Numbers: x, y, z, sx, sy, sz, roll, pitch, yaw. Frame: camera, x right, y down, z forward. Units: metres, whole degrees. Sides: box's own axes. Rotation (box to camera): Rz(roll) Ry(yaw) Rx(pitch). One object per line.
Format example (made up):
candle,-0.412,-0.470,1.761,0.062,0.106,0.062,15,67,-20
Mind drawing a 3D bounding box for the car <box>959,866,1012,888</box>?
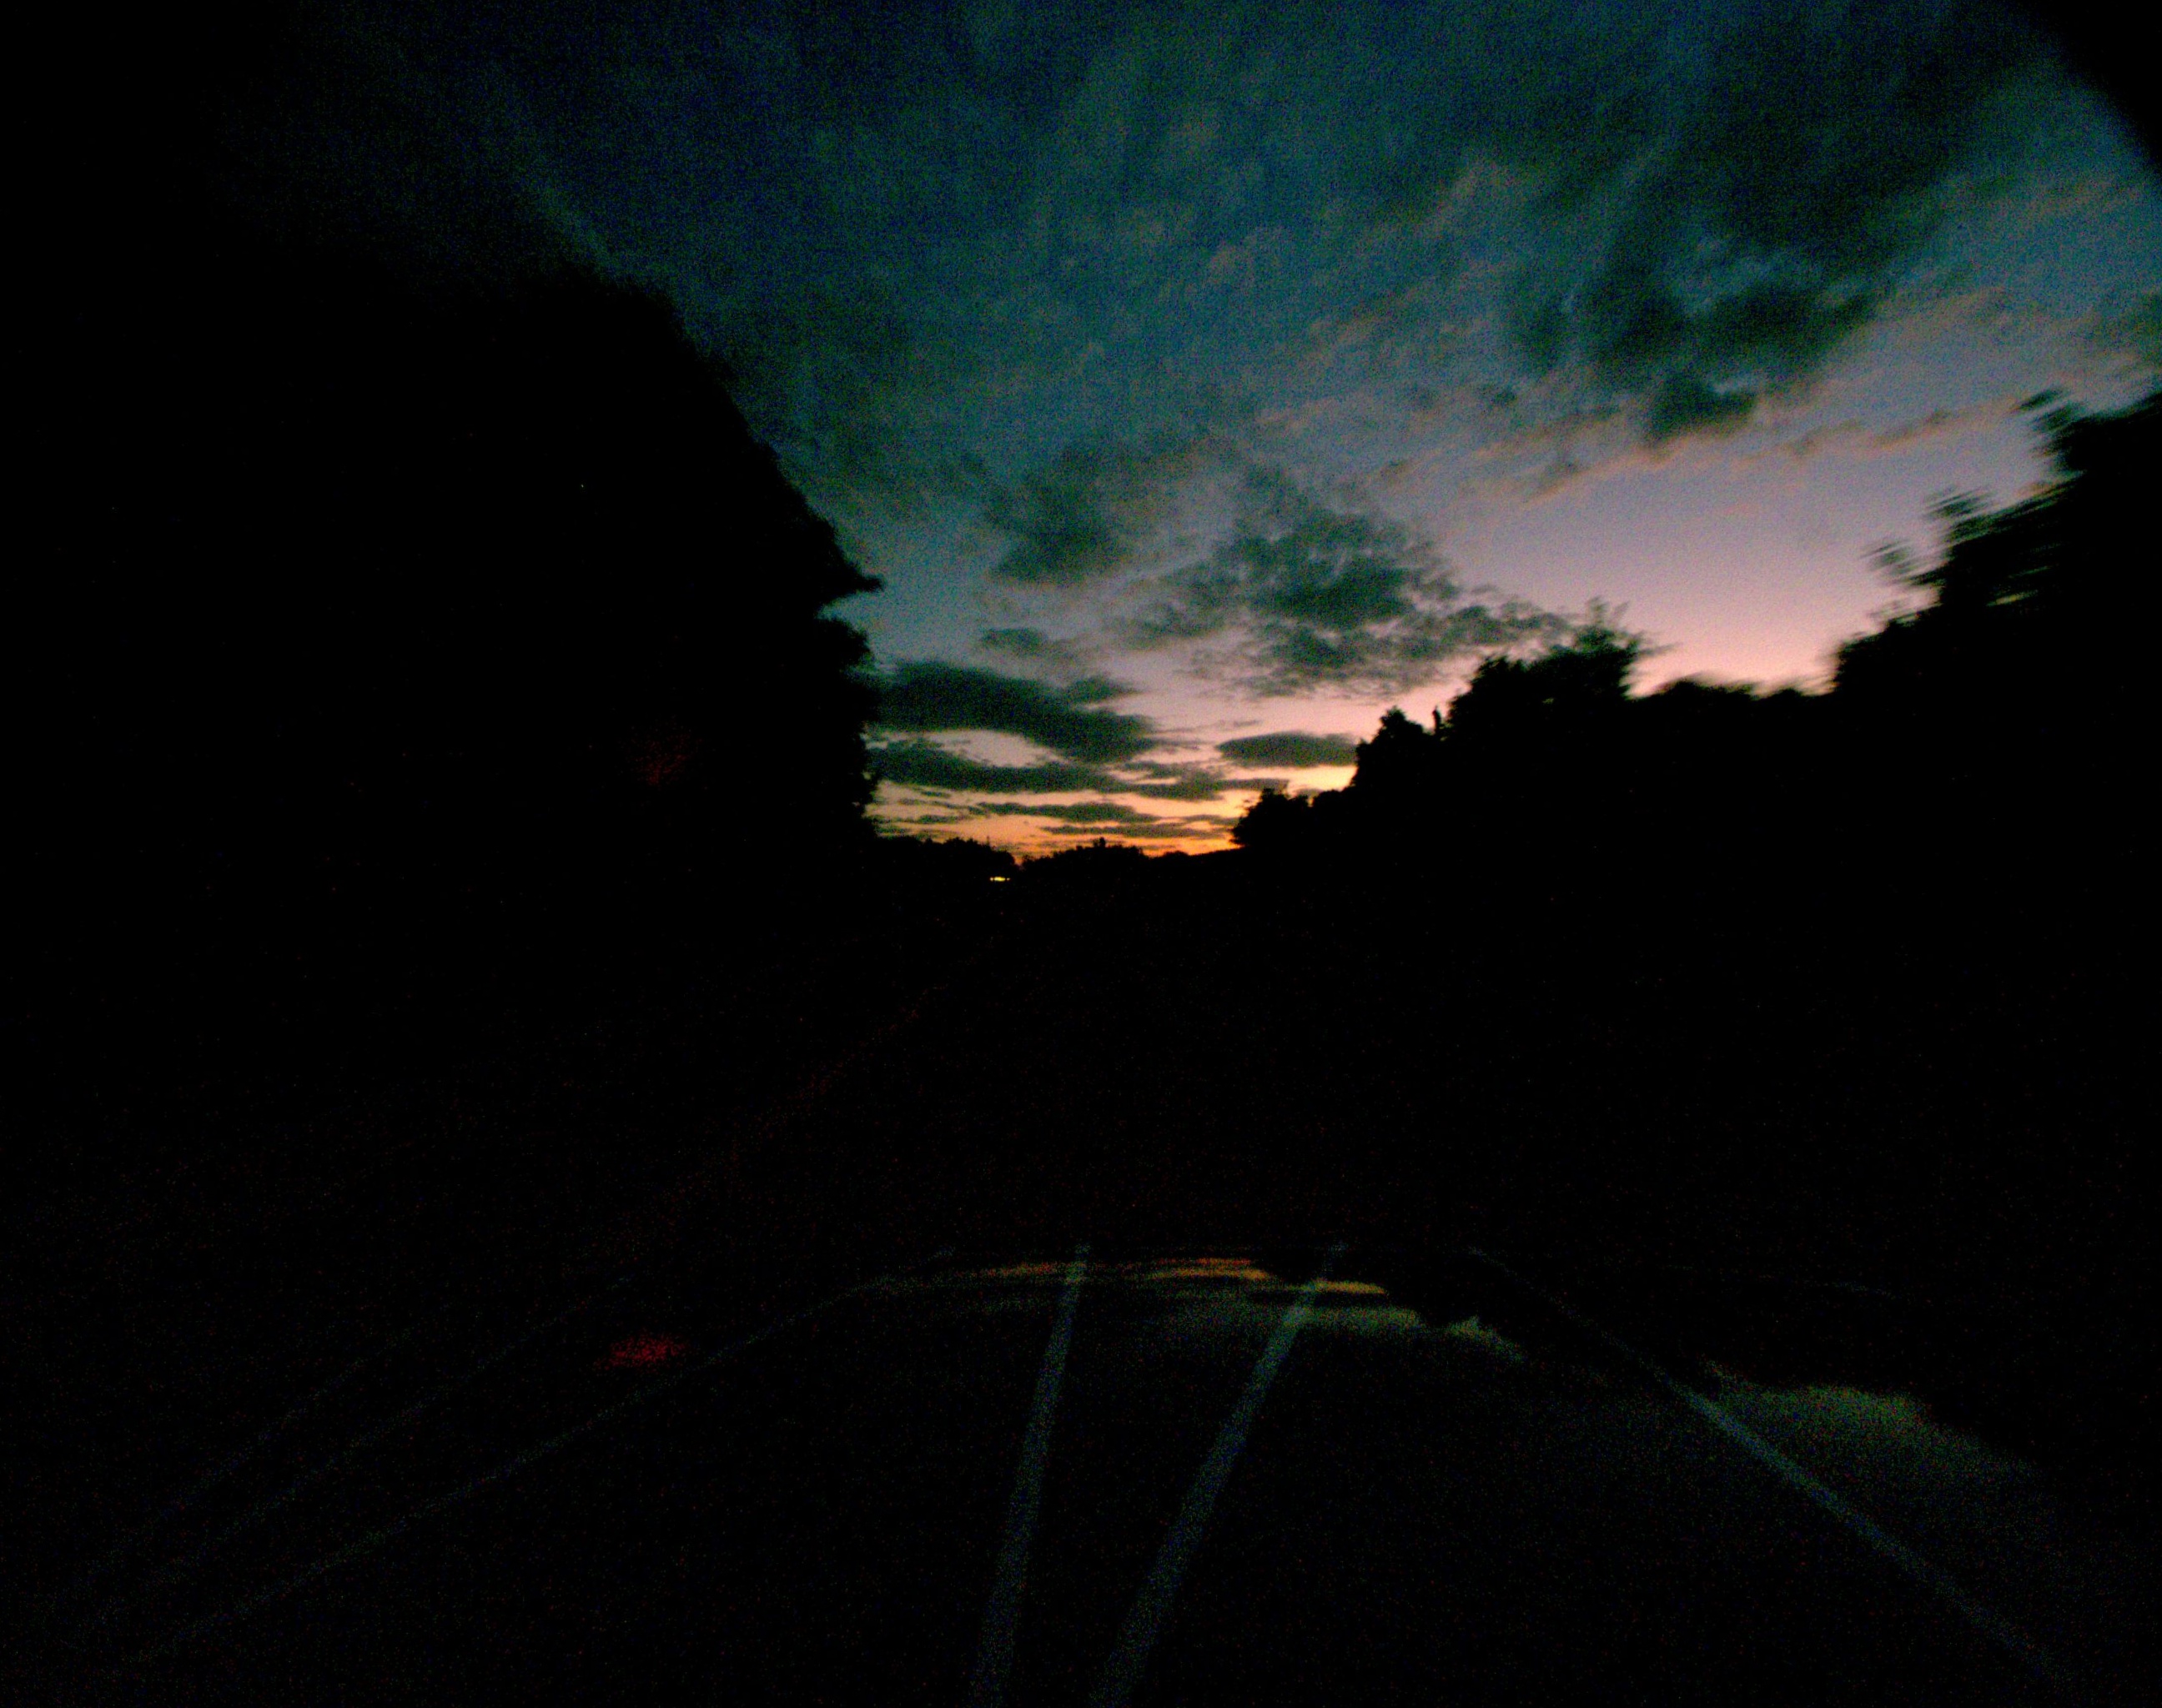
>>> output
car,-12.028,2.909,95.542,6.481,2.514,2.269,-3,0,32
